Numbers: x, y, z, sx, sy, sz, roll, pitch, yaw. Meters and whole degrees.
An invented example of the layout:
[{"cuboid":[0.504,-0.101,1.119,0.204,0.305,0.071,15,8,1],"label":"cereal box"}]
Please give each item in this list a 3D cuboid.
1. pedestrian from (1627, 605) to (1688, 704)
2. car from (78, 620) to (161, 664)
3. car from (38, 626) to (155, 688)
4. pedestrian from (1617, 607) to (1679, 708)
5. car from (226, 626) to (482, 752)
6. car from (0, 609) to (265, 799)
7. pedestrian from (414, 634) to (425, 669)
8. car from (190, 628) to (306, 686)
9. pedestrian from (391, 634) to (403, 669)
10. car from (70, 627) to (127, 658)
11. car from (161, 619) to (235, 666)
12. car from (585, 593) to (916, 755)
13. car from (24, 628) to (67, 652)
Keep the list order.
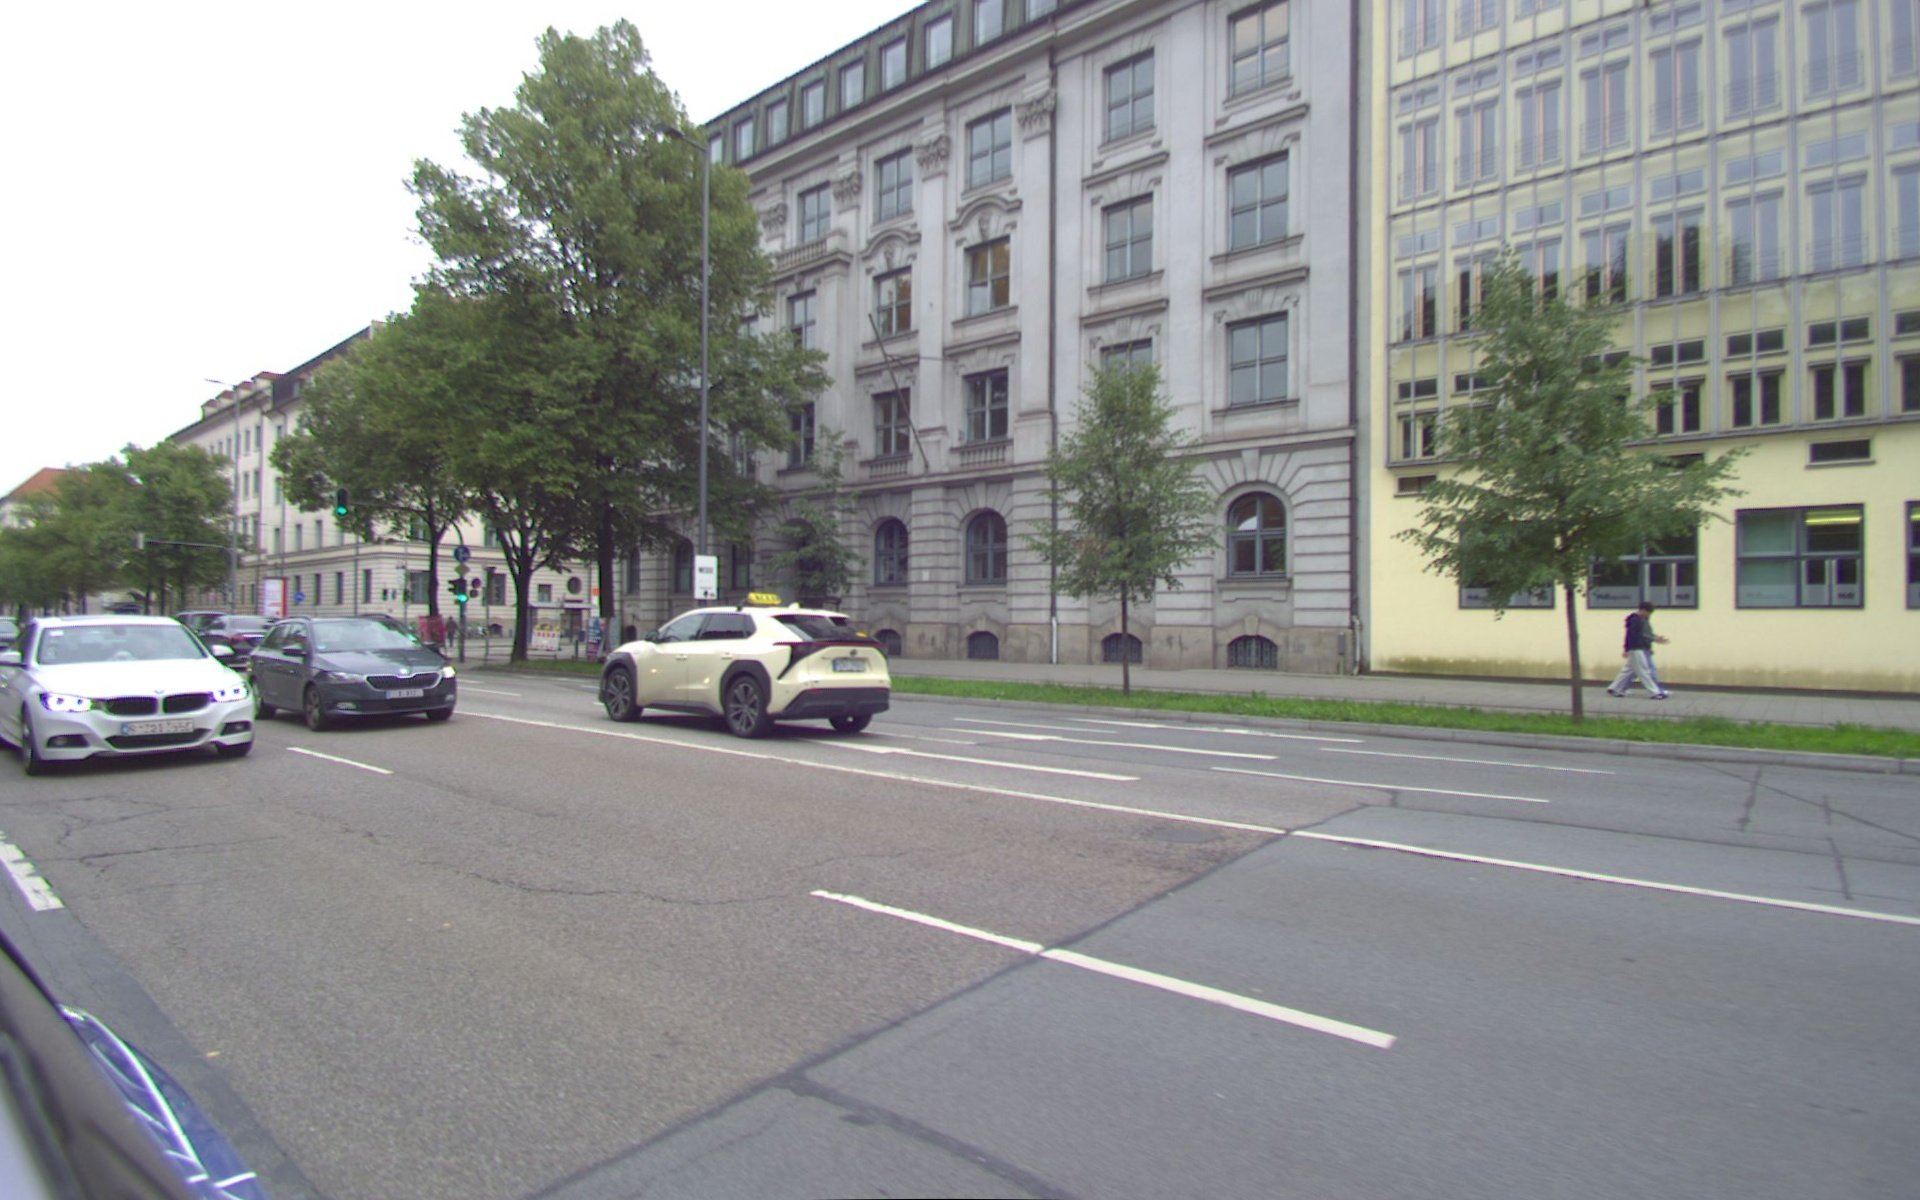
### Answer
[{"cuboid":[13.018,0.996,18.897,0.835,1.790,0.609,-1,-1,42],"label":"pedestrian"},{"cuboid":[-32.404,1.645,38.990,4.822,1.554,1.808,-4,-4,43],"label":"car"},{"cuboid":[-23.080,1.465,27.001,4.336,1.528,1.674,-1,-2,40],"label":"car"},{"cuboid":[12.508,1.023,18.404,0.835,1.790,0.609,-1,-1,42],"label":"pedestrian"},{"cuboid":[-8.451,1.097,13.962,4.273,1.458,1.774,-1,-2,41],"label":"car"},{"cuboid":[-9.473,0.955,11.149,5.024,1.649,1.774,-1,-2,41],"label":"car"},{"cuboid":[-29.493,2.797,55.203,0.494,1.869,0.471,1,-2,-30],"label":"pedestrian"},{"cuboid":[-19.356,1.512,27.436,1.747,1.434,4.749,4,-4,-45],"label":"car"},{"cuboid":[-30.259,2.762,54.392,0.494,1.869,0.529,1,-2,-30],"label":"pedestrian"},{"cuboid":[-49.079,2.434,57.622,4.349,1.668,1.820,-1,-4,42],"label":"car"},{"cuboid":[-32.320,1.772,42.888,4.261,1.763,1.807,0,-4,44],"label":"car"},{"cuboid":[-2.882,0.896,13.275,4.628,1.762,1.837,-2,-4,42],"label":"car"},{"cuboid":[-64.112,2.803,70.928,3.998,1.608,1.726,-2,-5,41],"label":"car"}]
